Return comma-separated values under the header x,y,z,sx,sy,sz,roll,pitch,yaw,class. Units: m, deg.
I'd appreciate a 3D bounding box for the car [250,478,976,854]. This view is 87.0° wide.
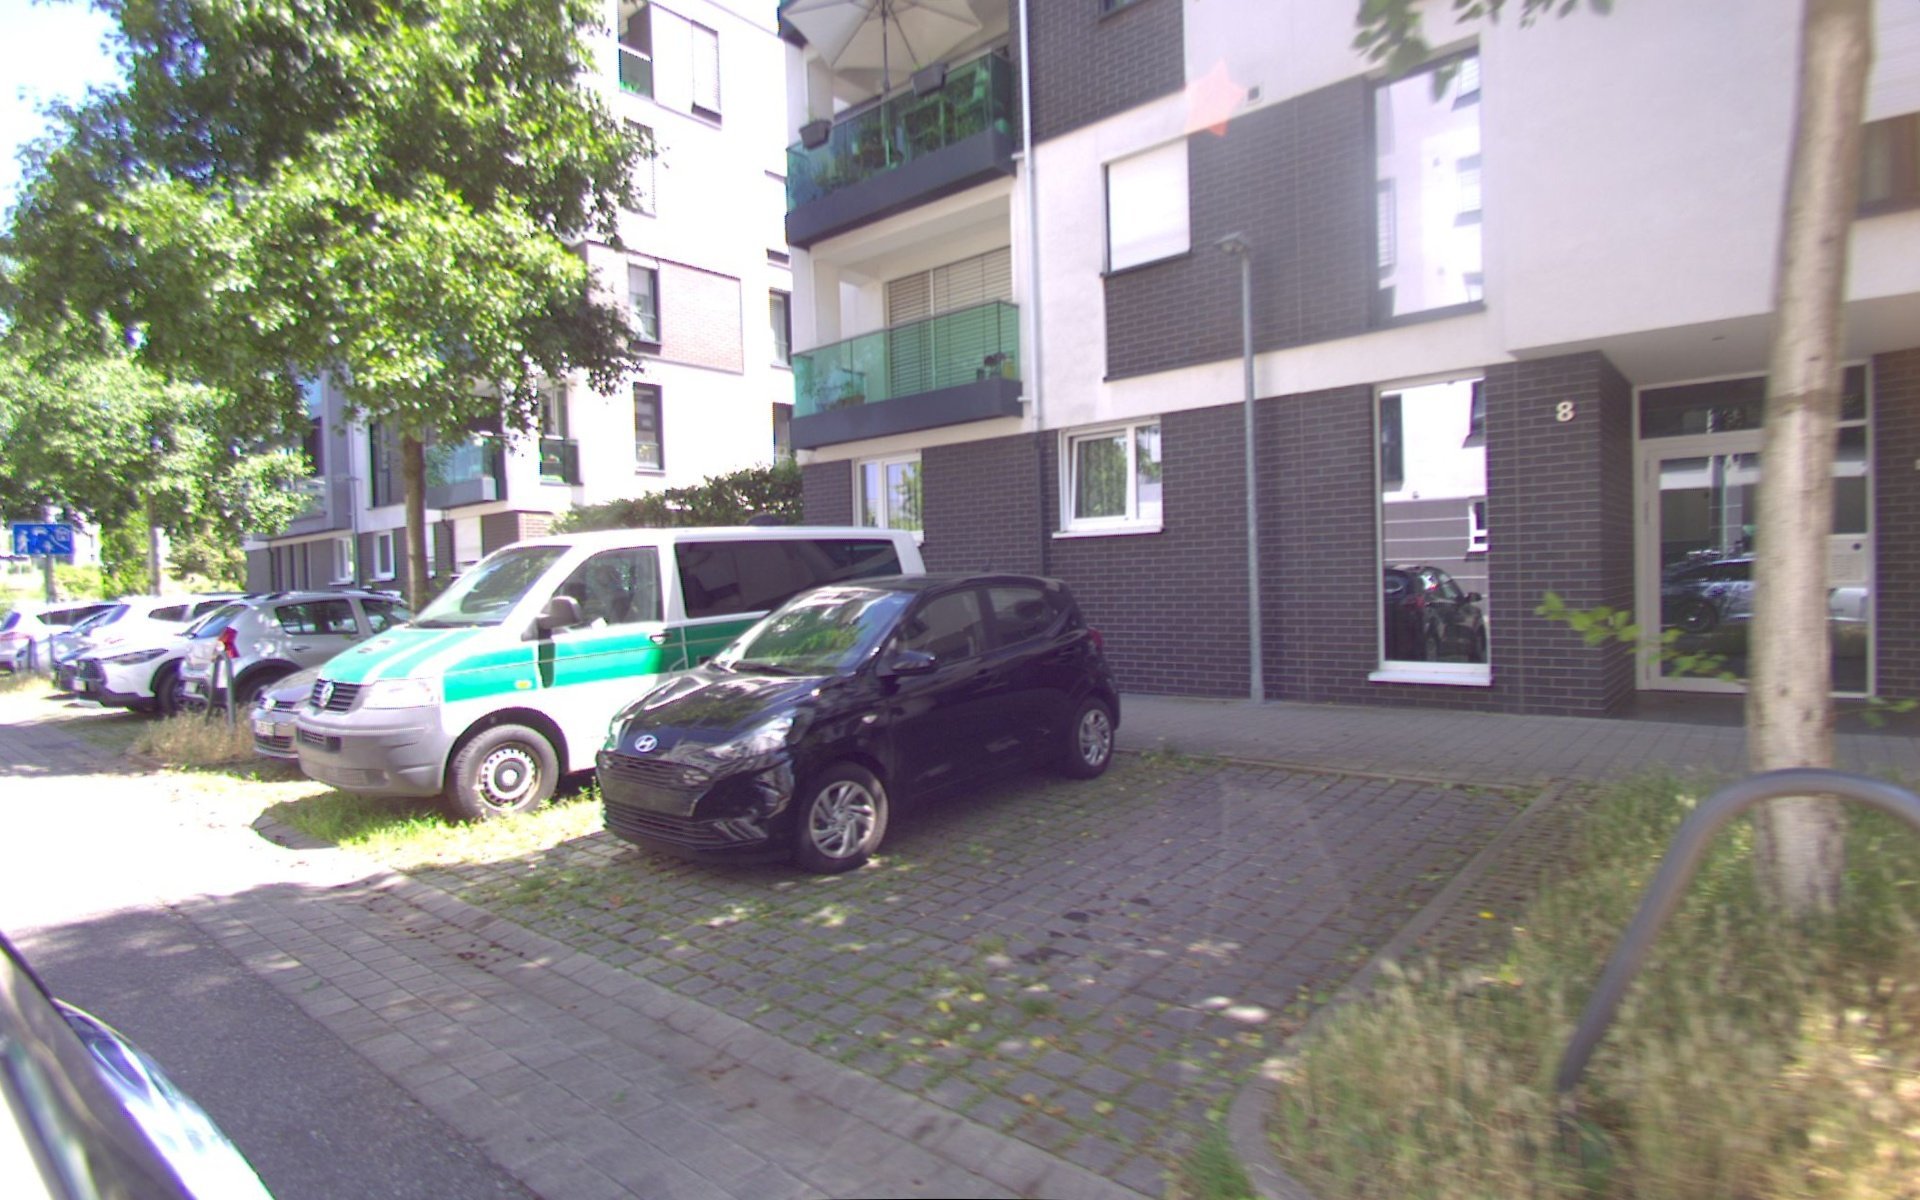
x,y,z,sx,sy,sz,roll,pitch,yaw,class
-2.450,0.322,8.416,2.187,2.126,5.285,-1,1,42,car

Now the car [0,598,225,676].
x,y,z,sx,sy,sz,roll,pitch,yaw,class
-21.344,0.865,25.018,1.825,1.459,4.773,-1,4,38,car

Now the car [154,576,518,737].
x,y,z,sx,sy,sz,roll,pitch,yaw,class
-8.108,0.616,13.386,1.851,1.688,3.643,-1,2,40,car

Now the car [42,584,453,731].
x,y,z,sx,sy,sz,roll,pitch,yaw,class
-10.252,0.694,14.934,1.962,1.605,4.519,-1,3,35,car

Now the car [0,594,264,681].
x,y,z,sx,sy,sz,roll,pitch,yaw,class
-19.455,0.790,23.515,2.040,1.644,4.981,-2,1,38,car

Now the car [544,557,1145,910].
x,y,z,sx,sy,sz,roll,pitch,yaw,class
-0.477,0.550,6.422,1.677,1.492,3.587,-1,3,40,car

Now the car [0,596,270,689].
x,y,z,sx,sy,sz,roll,pitch,yaw,class
-17.521,0.830,21.592,1.820,1.542,4.212,-2,2,37,car

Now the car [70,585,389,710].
x,y,z,sx,sy,sz,roll,pitch,yaw,class
-12.055,0.682,16.874,1.949,1.641,3.938,-1,3,43,car

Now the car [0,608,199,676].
x,y,z,sx,sy,sz,roll,pitch,yaw,class
-23.416,1.061,26.656,1.925,1.496,5.050,0,2,38,car

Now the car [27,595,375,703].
x,y,z,sx,sy,sz,roll,pitch,yaw,class
-13.768,0.783,18.631,1.828,1.467,4.801,-1,3,41,car

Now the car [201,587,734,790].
x,y,z,sx,sy,sz,roll,pitch,yaw,class
-4.670,0.678,10.180,1.998,1.501,4.378,-1,1,39,car
